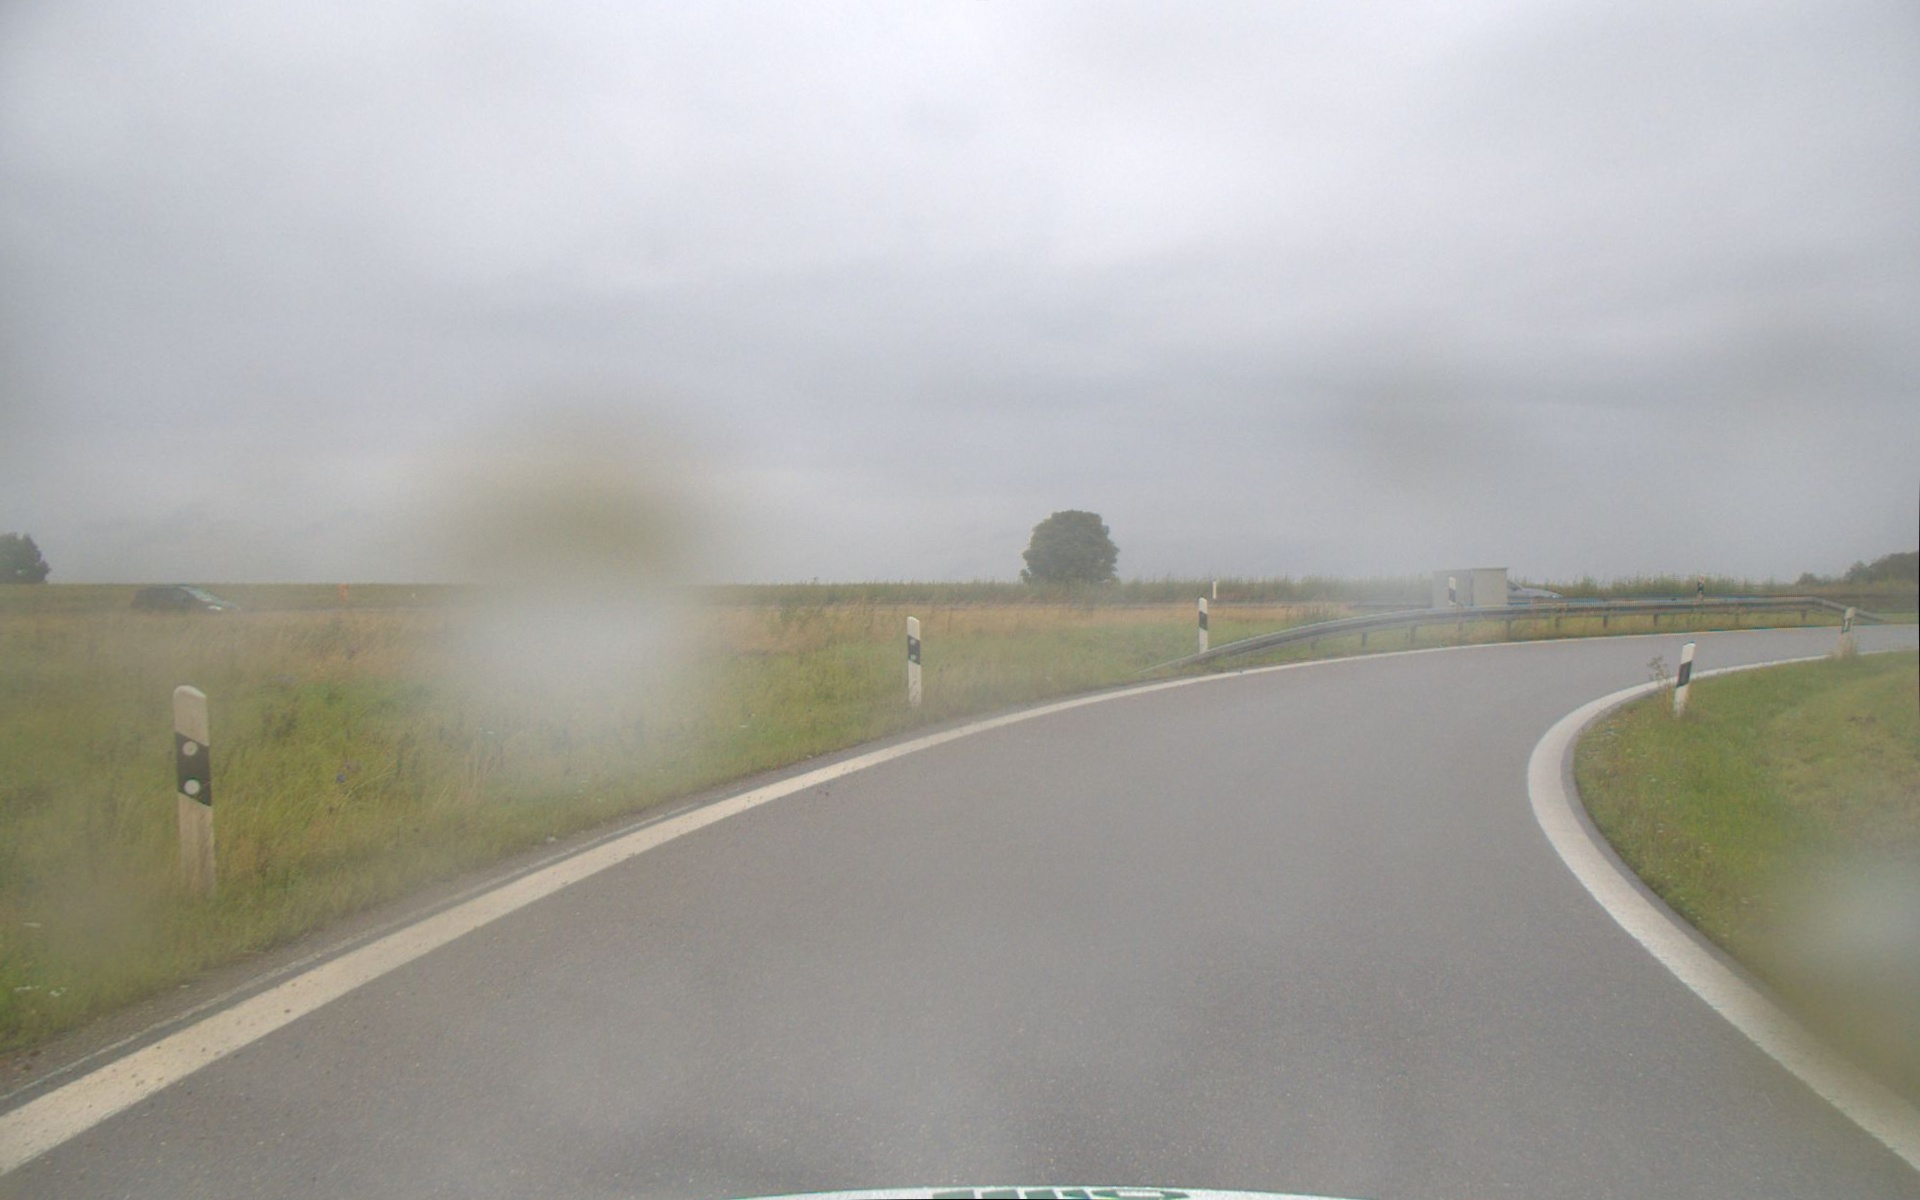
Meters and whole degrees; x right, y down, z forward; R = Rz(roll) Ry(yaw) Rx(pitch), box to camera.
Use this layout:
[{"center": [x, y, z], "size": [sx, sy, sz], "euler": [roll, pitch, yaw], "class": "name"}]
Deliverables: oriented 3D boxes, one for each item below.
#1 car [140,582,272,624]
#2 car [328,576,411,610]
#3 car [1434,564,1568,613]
[{"center": [-30.597, 0.095, 67.192], "size": [4.482, 1.664, 2.154], "euler": [0, 1, 13], "class": "car"}, {"center": [-32.285, -0.385, 90.480], "size": [3.902, 1.767, 1.737], "euler": [-1, 1, 9], "class": "car"}, {"center": [18.768, -0.399, 57.568], "size": [4.242, 1.665, 2.061], "euler": [0, 0, 13], "class": "car"}]
